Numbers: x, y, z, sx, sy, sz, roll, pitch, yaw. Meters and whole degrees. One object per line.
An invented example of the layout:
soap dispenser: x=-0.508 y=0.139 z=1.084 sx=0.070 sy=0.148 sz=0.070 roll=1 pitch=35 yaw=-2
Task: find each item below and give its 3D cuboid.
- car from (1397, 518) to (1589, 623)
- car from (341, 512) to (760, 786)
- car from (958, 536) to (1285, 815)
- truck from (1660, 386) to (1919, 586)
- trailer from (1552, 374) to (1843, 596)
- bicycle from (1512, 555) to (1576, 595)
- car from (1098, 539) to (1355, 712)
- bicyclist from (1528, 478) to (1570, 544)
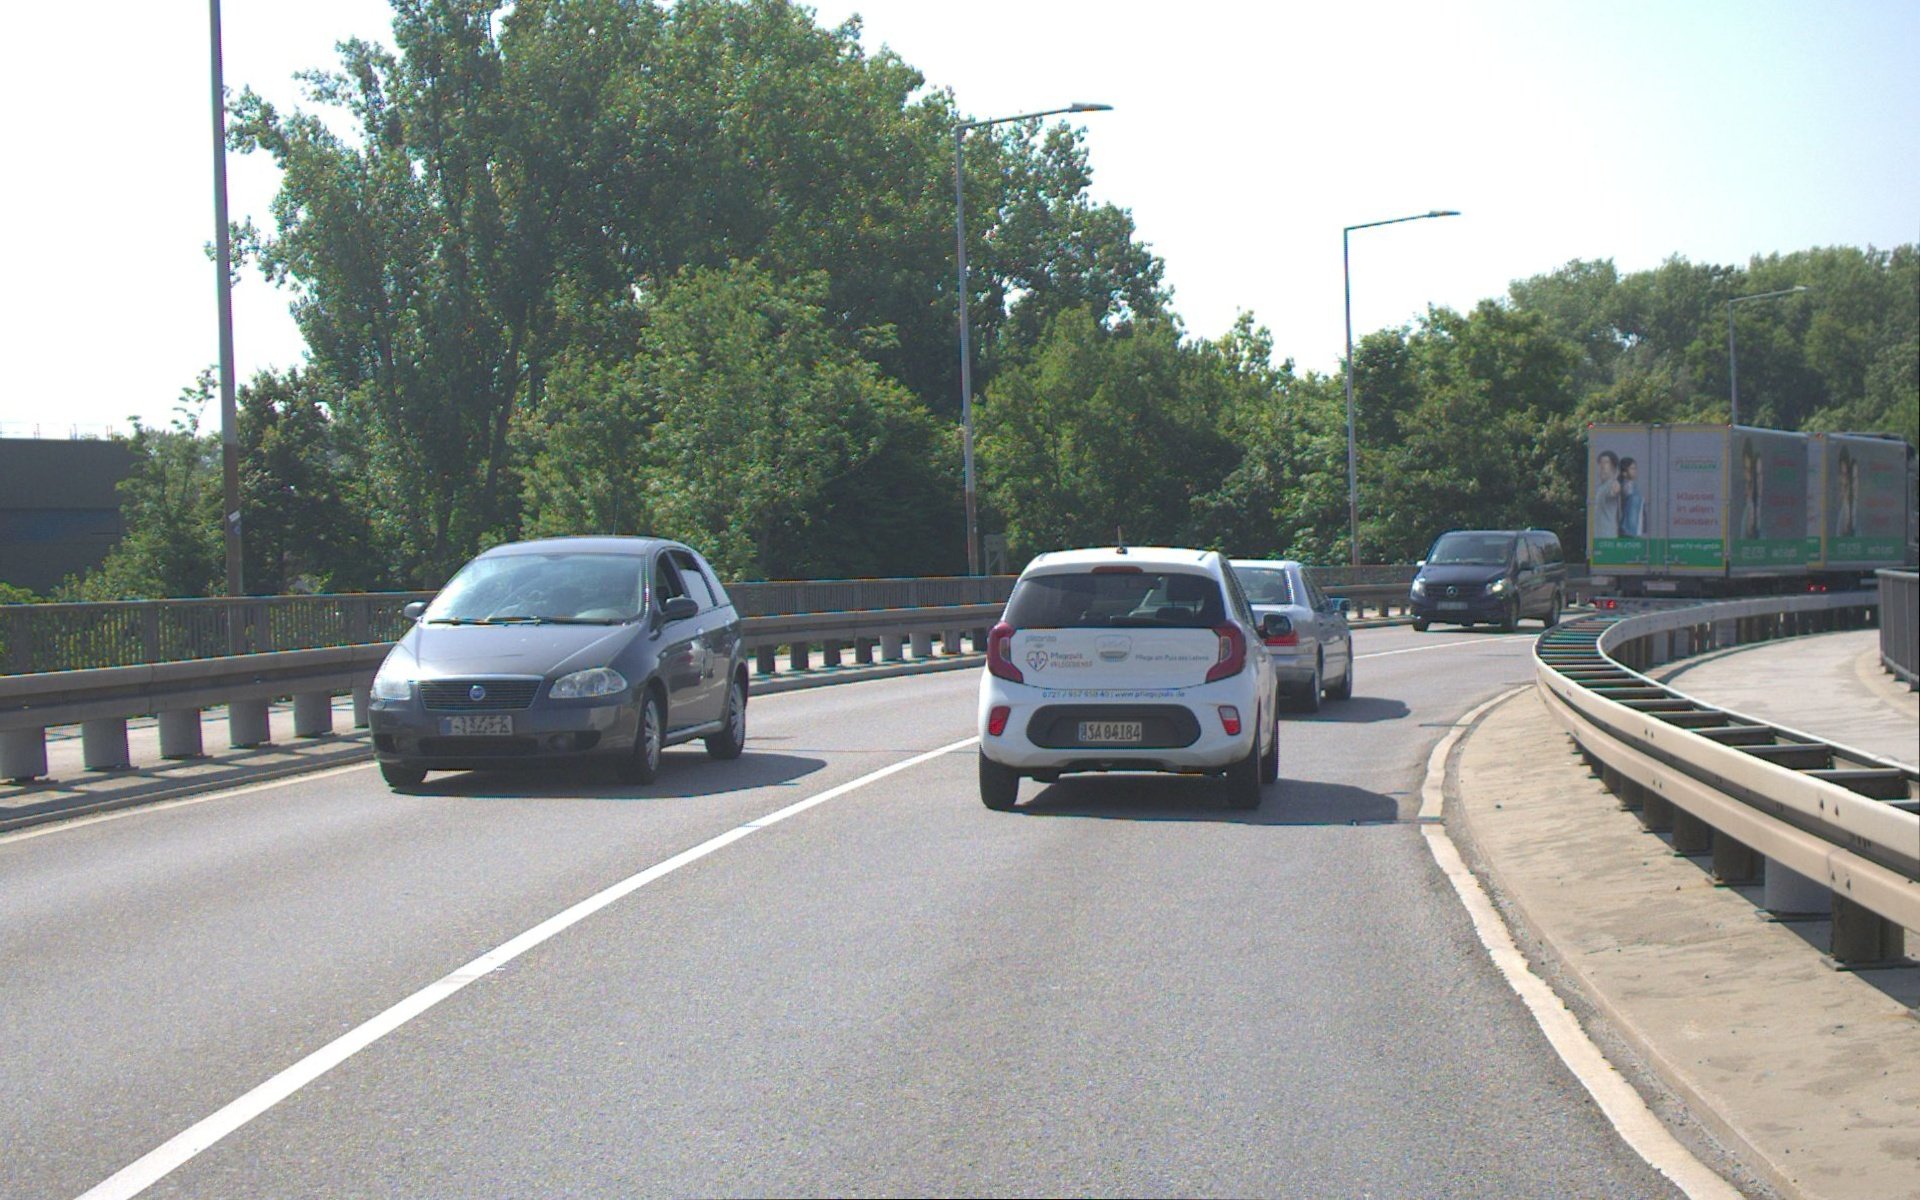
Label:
car: x=10.110 y=-0.554 z=64.768 sx=2.078 sy=1.882 sz=5.907 roll=1 pitch=1 yaw=24
car: x=-2.601 y=0.242 z=22.854 sx=1.732 sy=1.619 sz=4.302 roll=0 pitch=2 yaw=8
car: x=1.076 y=0.403 z=20.968 sx=1.702 sy=1.489 sz=3.999 roll=1 pitch=0 yaw=6
truck: x=17.106 y=-2.311 z=69.848 sx=3.265 sy=3.745 sz=8.358 roll=3 pitch=3 yaw=28
trailer: x=13.677 y=-2.114 z=63.203 sx=3.229 sy=3.745 sz=7.813 roll=3 pitch=3 yaw=27
bicycle: x=13.512 y=-0.586 z=79.483 sx=0.930 sy=0.888 sz=1.964 roll=1 pitch=2 yaw=27
car: x=2.623 y=0.180 z=32.760 sx=1.940 sy=1.481 sz=4.898 roll=1 pitch=1 yaw=10
bicyclist: x=13.602 y=-2.068 z=79.440 sx=0.661 sy=1.491 sz=1.015 roll=1 pitch=3 yaw=29
